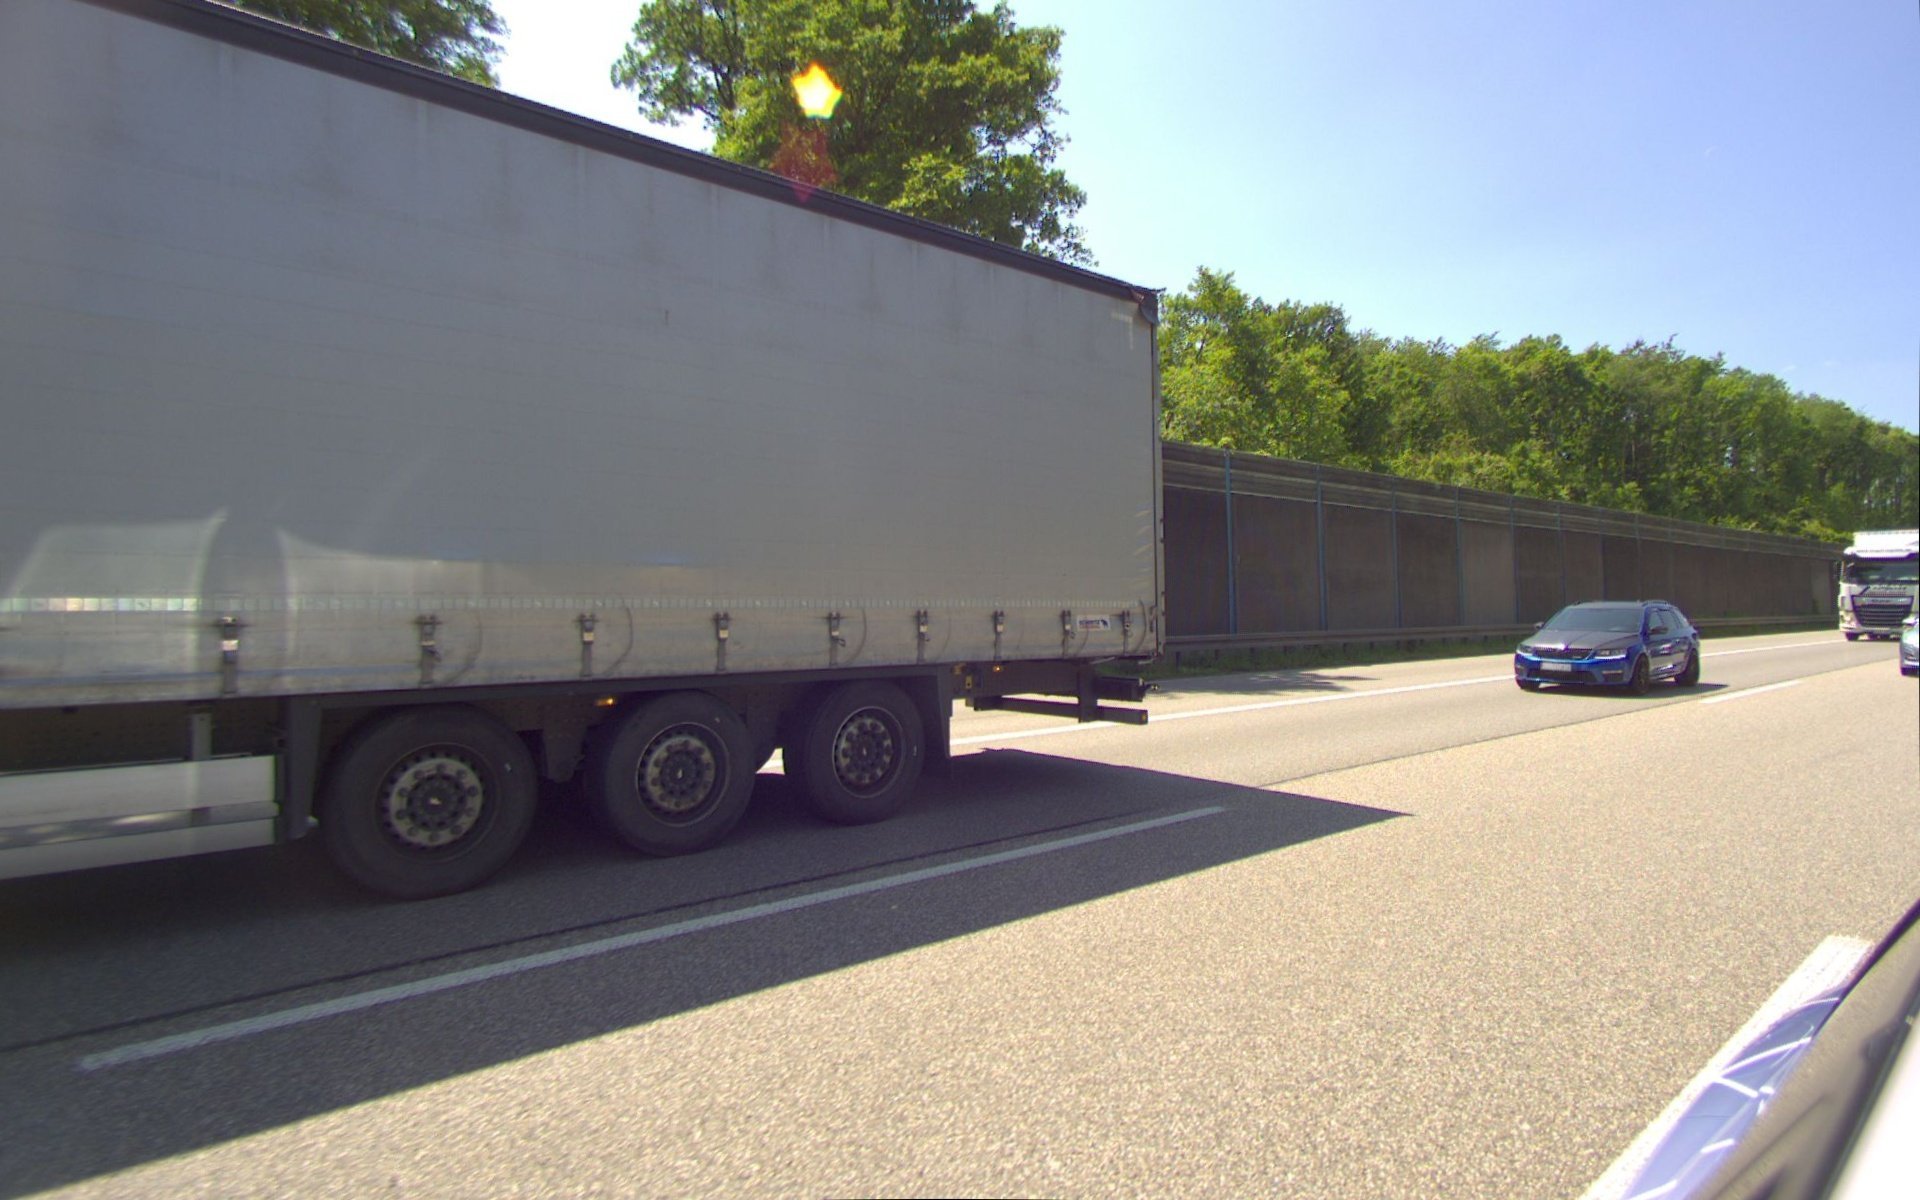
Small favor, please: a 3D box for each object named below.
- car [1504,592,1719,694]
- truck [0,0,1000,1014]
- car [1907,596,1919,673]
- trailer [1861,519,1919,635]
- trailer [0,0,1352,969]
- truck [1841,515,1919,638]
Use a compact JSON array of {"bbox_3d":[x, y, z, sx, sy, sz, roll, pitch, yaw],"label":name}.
[{"bbox_3d":[10.950,0.634,16.917,4.102,1.512,1.859,0,-1,-40],"label":"car"},{"bbox_3d":[-2.661,-0.673,5.791,5.456,4.142,2.602,-1,0,-41],"label":"truck"},{"bbox_3d":[20.011,0.627,19.655,4.102,1.452,1.859,0,-1,-40],"label":"car"},{"bbox_3d":[40.661,-0.880,41.735,13.217,4.269,2.821,0,-1,-38],"label":"trailer"},{"bbox_3d":[-1.938,-0.725,6.974,13.353,4.142,2.603,-1,0,-41],"label":"trailer"},{"bbox_3d":[35.174,-0.830,37.473,5.322,4.269,2.812,0,-1,-38],"label":"truck"}]
